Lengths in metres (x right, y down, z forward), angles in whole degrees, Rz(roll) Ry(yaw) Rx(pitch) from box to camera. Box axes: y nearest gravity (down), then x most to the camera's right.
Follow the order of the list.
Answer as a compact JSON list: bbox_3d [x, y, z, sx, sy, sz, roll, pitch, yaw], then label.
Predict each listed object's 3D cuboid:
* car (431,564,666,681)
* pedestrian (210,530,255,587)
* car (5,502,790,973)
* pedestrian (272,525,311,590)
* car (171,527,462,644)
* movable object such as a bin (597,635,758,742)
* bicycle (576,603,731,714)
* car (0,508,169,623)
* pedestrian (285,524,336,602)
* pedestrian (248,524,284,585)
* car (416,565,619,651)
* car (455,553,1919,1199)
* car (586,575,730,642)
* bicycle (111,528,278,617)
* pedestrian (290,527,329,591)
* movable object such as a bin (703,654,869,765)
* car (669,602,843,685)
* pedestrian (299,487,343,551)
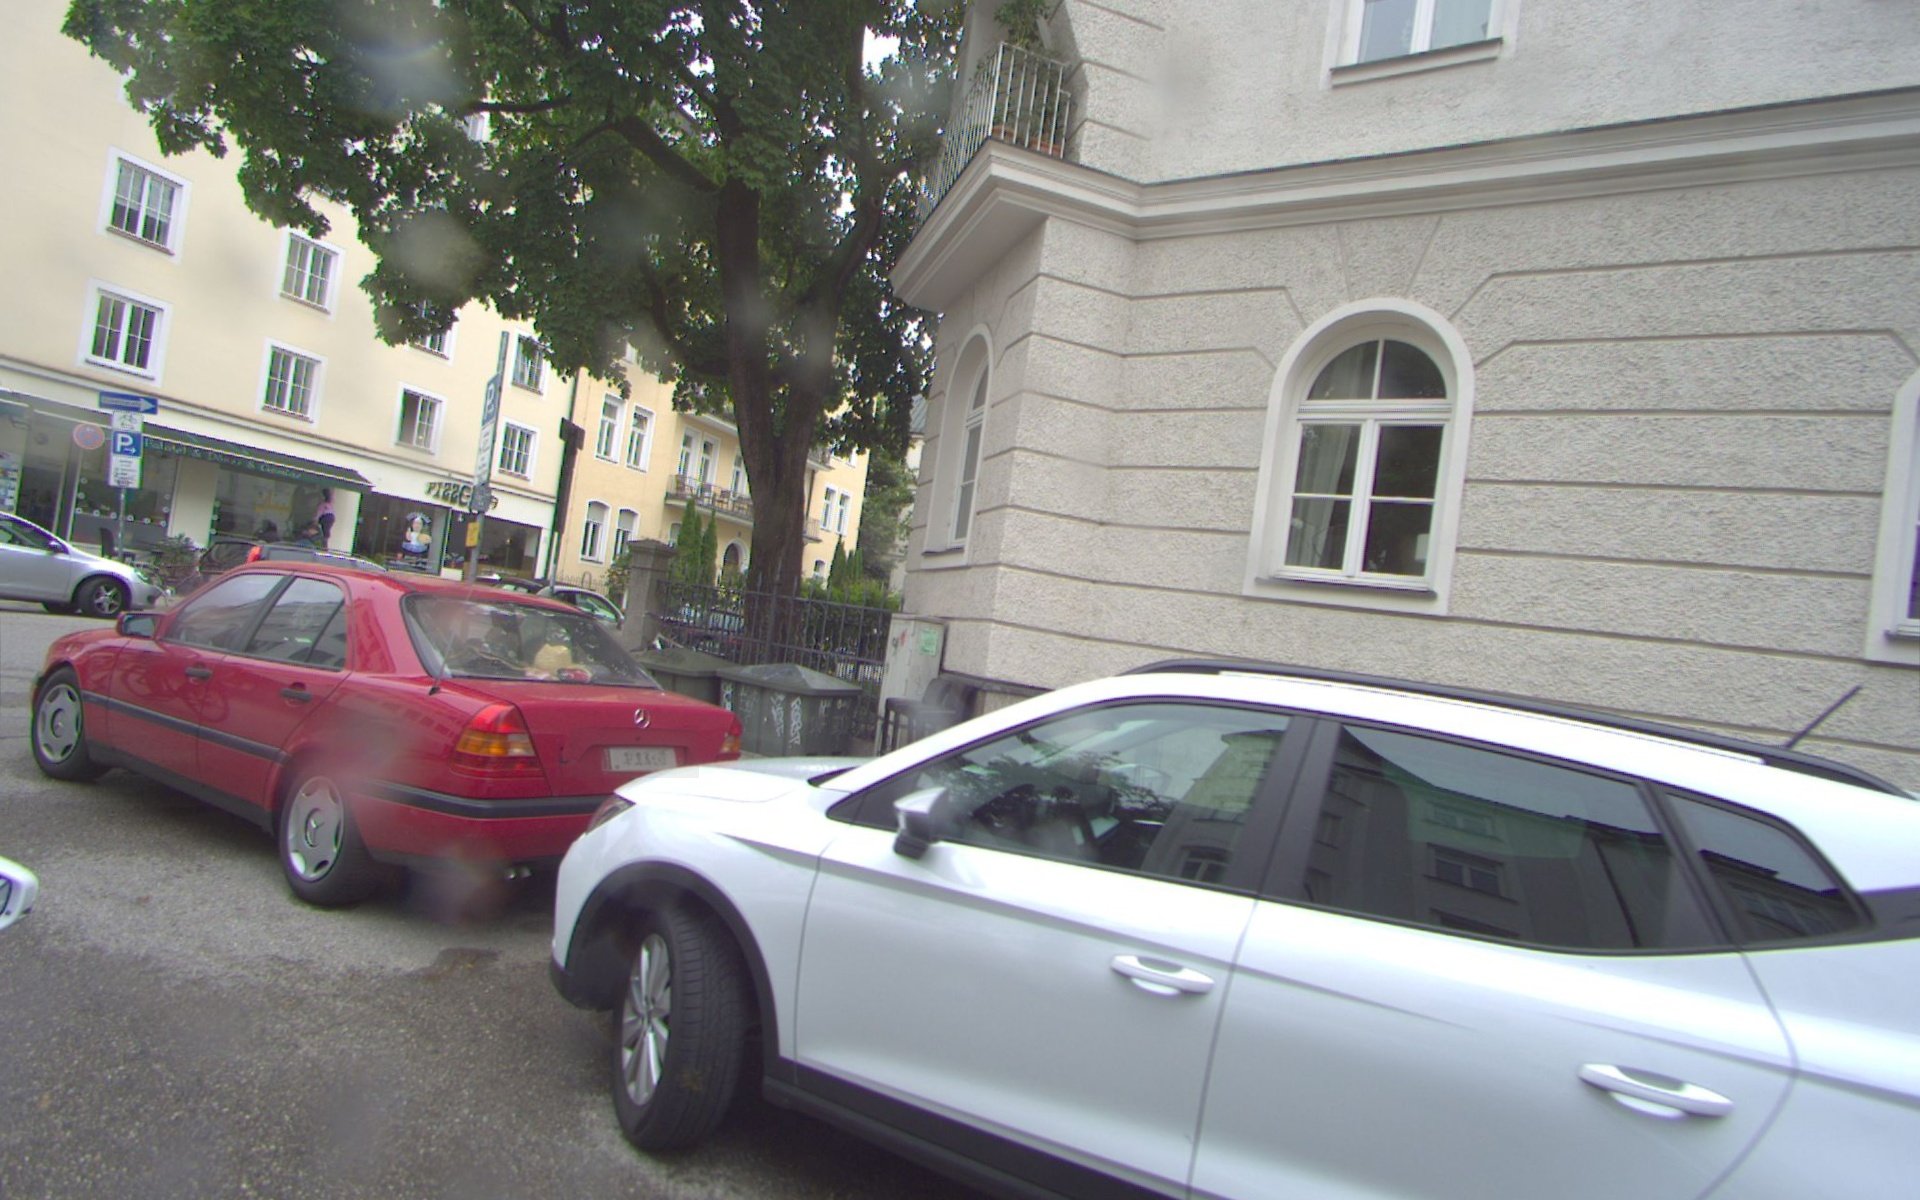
[{"bbox_3d":[-6.758,0.443,16.870,1.598,1.504,3.333,9,-2,23],"label":"car"},{"bbox_3d":[-18.011,-1.023,24.908,0.572,1.312,0.513,8,-1,0],"label":"pedestrian"},{"bbox_3d":[-3.138,0.485,5.389,4.142,1.451,1.674,7,-2,31],"label":"car"},{"bbox_3d":[-17.008,-1.079,25.599,0.551,1.555,0.432,9,0,-24],"label":"pedestrian"},{"bbox_3d":[-12.034,-0.186,19.205,1.787,1.609,4.355,6,-3,20],"label":"car"},{"bbox_3d":[-2.864,0.895,10.221,1.198,0.875,0.903,7,-2,29],"label":"movable object such as a bin"},{"bbox_3d":[-3.455,0.643,11.279,1.773,1.051,0.482,4,-2,29],"label":"bicycle"},{"bbox_3d":[-14.275,-0.617,14.556,1.791,1.431,3.996,3,-5,32],"label":"car"},{"bbox_3d":[-15.273,-0.862,23.669,0.533,1.722,0.604,9,0,22],"label":"pedestrian"},{"bbox_3d":[-17.520,-1.136,25.402,0.507,1.450,0.579,8,-1,-28],"label":"pedestrian"},{"bbox_3d":[-10.339,0.274,23.915,1.787,1.519,4.355,5,-4,20],"label":"car"},{"bbox_3d":[0.665,0.912,2.923,3.841,1.513,1.756,7,-2,28],"label":"car"},{"bbox_3d":[-8.504,0.287,28.695,1.778,1.465,4.004,4,-4,20],"label":"car"},{"bbox_3d":[-14.256,-0.478,18.814,1.086,1.267,2.091,9,-3,22],"label":"bicycle"},{"bbox_3d":[-17.057,-1.069,26.375,0.525,1.569,0.435,8,-1,3],"label":"pedestrian"},{"bbox_3d":[-1.684,1.050,9.786,1.198,0.853,0.903,7,-2,29],"label":"movable object such as a bin"},{"bbox_3d":[-4.368,1.030,22.238,1.675,1.422,4.203,7,-2,20],"label":"car"},{"bbox_3d":[-17.205,-2.182,27.104,0.567,1.592,0.555,7,-2,21],"label":"pedestrian"}]
